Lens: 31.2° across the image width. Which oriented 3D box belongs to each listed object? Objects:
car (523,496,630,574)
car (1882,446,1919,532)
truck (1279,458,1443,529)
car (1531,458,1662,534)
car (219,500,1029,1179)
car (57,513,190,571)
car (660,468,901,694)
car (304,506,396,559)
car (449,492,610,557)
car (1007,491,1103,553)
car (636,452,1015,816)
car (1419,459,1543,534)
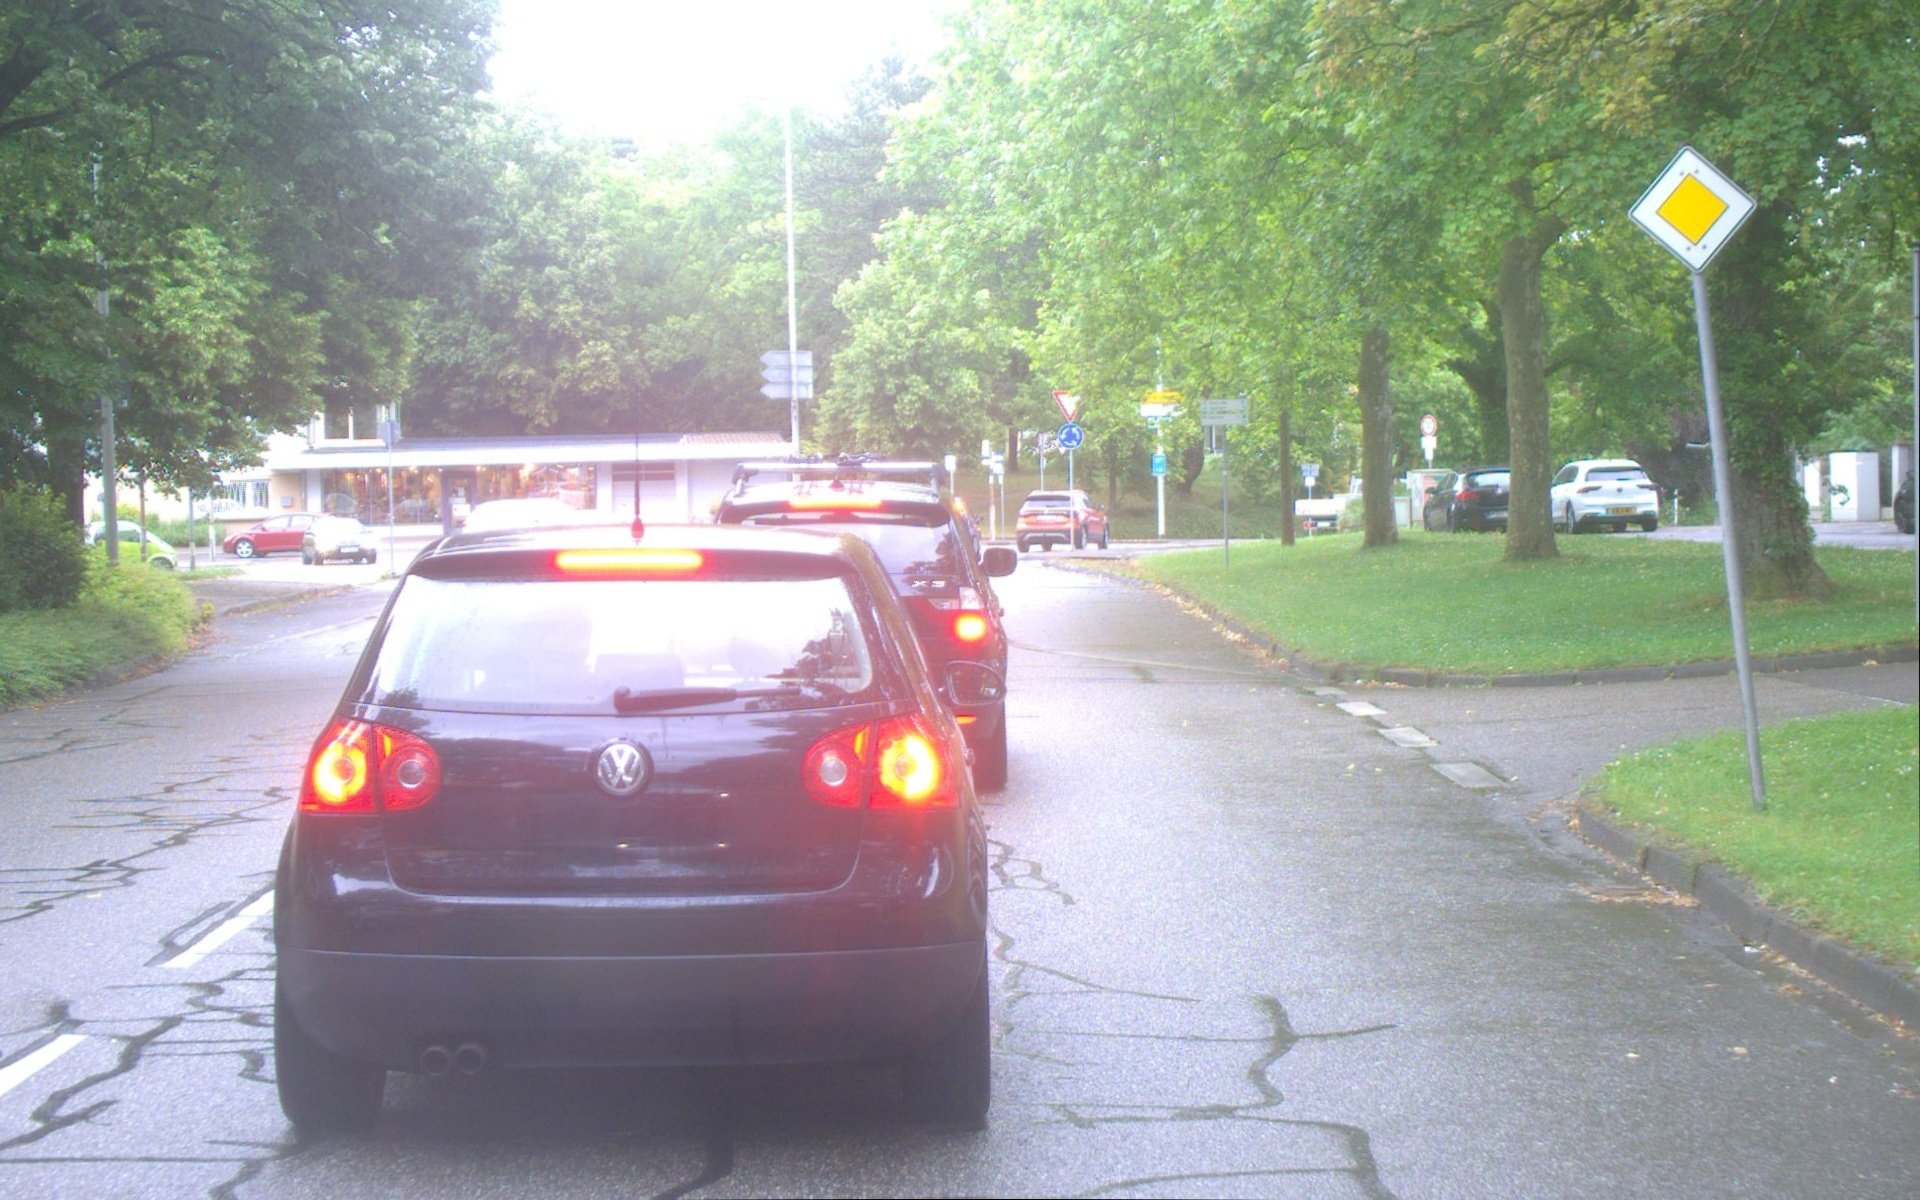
[{"bbox_3d":[-7.667,-1.318,68.441,1.607,1.422,4.010,-3,3,-13],"label":"car"},{"bbox_3d":[16.900,-1.862,57.133,1.801,1.406,4.113,-3,3,-3],"label":"car"},{"bbox_3d":[12.056,-3.212,103.119,2.422,1.998,5.139,-1,2,40],"label":"truck"},{"bbox_3d":[12.928,-2.132,70.049,1.803,1.401,4.001,-3,2,-1],"label":"car"},{"bbox_3d":[-0.760,0.495,9.566,1.798,1.510,3.754,0,1,0],"label":"car"},{"bbox_3d":[-20.891,-1.460,85.978,3.119,1.305,1.540,-3,2,-11],"label":"car"},{"bbox_3d":[-1.486,-0.200,29.775,1.855,1.778,4.000,-2,1,0],"label":"car"},{"bbox_3d":[-17.711,-1.945,99.680,1.797,1.388,3.980,-4,2,-21],"label":"car"},{"bbox_3d":[-11.035,-1.924,88.001,3.798,1.612,1.775,0,2,32],"label":"car"},{"bbox_3d":[2.473,-2.028,88.696,1.707,1.508,3.671,-2,2,13],"label":"car"},{"bbox_3d":[-0.684,0.111,19.248,1.855,1.778,4.000,-2,2,0],"label":"car"},{"bbox_3d":[10.562,-2.117,69.878,1.803,1.380,4.001,-3,2,-1],"label":"car"}]
